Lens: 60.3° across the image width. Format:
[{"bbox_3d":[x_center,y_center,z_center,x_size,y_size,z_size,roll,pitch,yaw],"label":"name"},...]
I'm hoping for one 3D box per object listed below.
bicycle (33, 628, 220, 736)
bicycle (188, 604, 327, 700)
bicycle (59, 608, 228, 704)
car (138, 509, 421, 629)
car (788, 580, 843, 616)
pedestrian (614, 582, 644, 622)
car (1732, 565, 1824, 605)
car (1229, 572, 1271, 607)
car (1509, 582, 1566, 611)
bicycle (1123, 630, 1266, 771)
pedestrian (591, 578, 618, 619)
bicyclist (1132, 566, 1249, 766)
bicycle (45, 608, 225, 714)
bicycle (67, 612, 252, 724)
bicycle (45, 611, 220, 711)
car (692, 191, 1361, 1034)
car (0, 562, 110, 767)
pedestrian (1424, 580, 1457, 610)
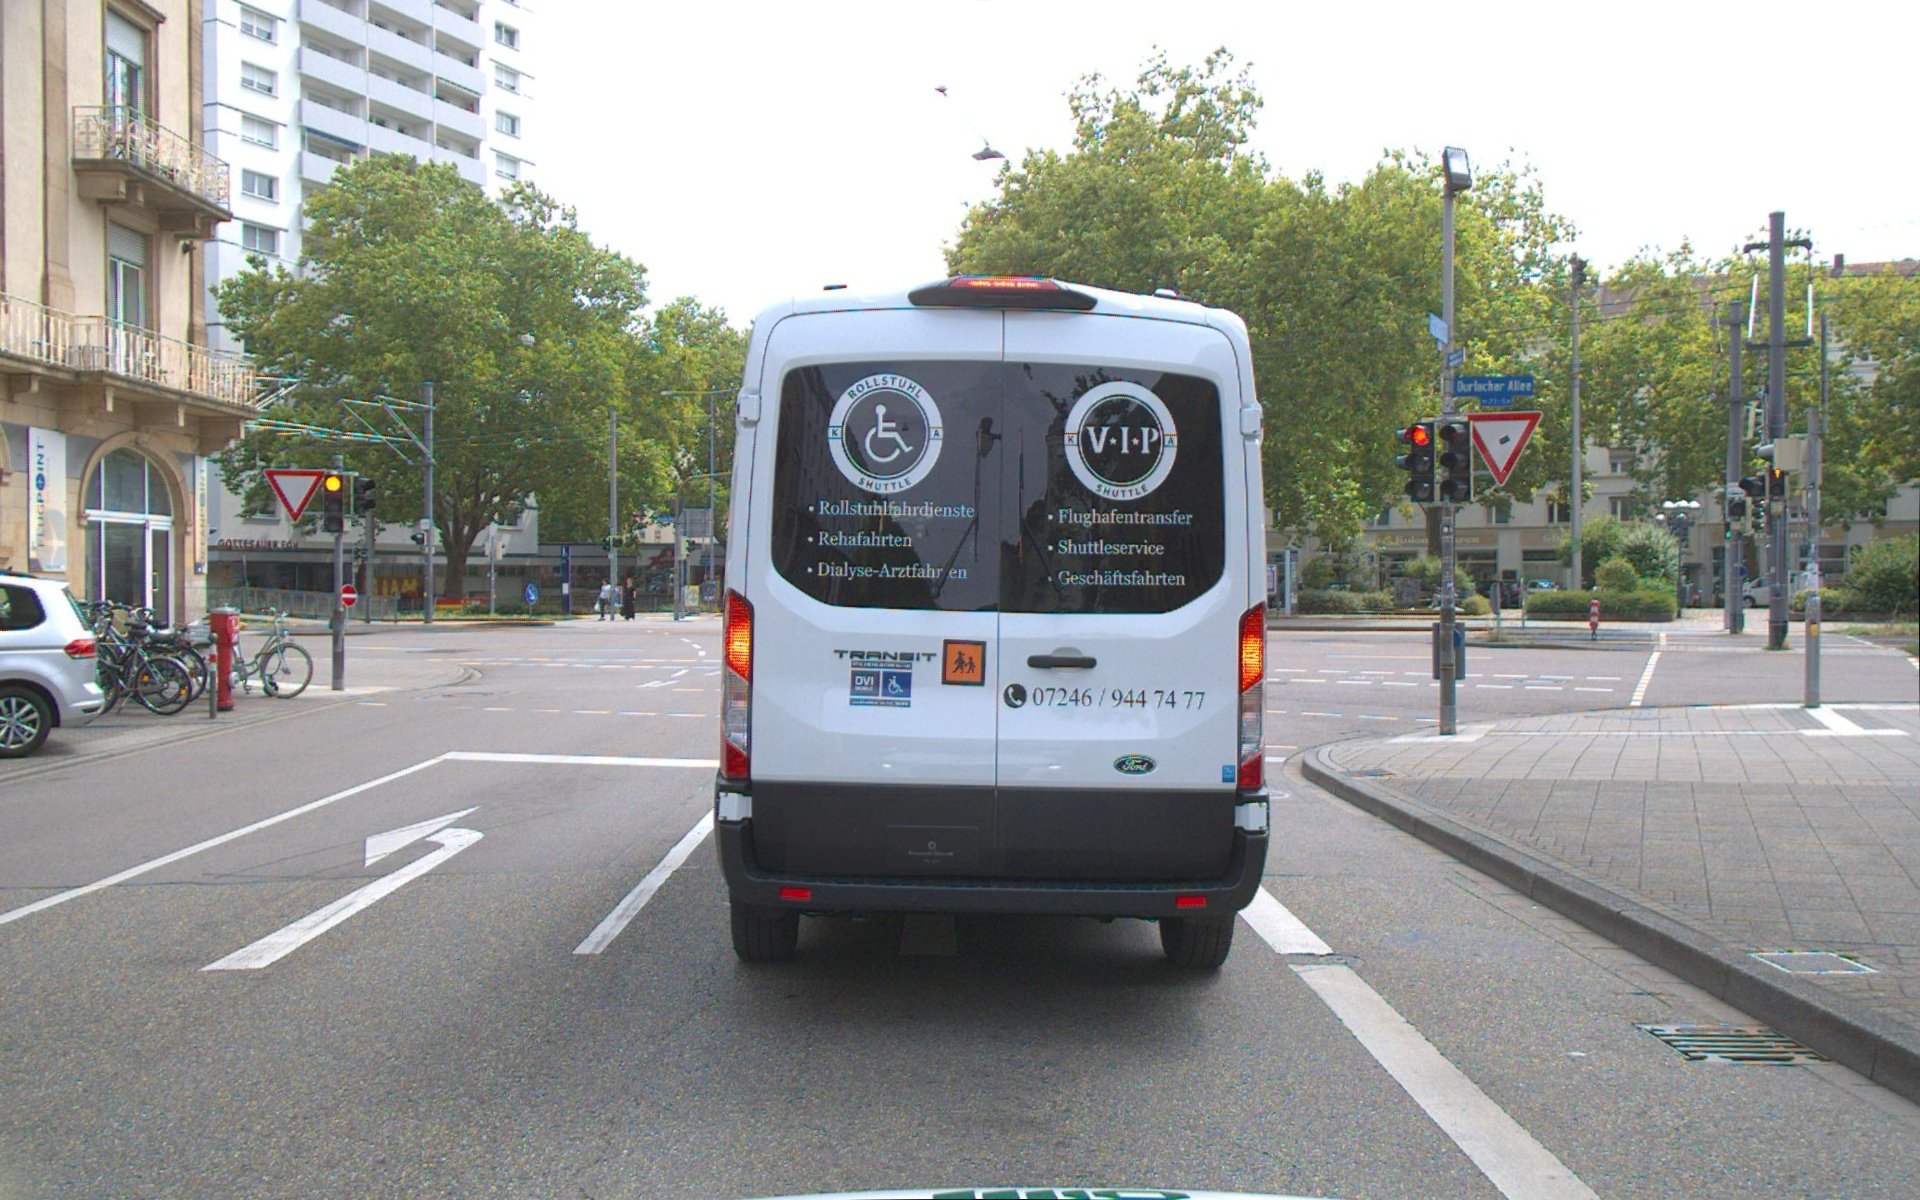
[{"bbox_3d":[-9.134,0.892,18.143,1.771,1.140,0.594,-1,0,6],"label":"bicycle"},{"bbox_3d":[-9.337,0.680,21.975,1.836,1.187,0.498,2,0,20],"label":"bicycle"},{"bbox_3d":[-10.269,0.704,20.842,1.775,1.140,0.593,2,0,-9],"label":"bicycle"},{"bbox_3d":[-23.944,-1.040,58.112,9.686,3.983,3.454,0,1,24],"label":"car"},{"bbox_3d":[-6.237,-0.114,71.808,1.586,1.502,4.003,-1,1,7],"label":"car"},{"bbox_3d":[-12.930,0.069,64.673,0.910,1.541,0.724,0,0,13],"label":"pedestrian"},{"bbox_3d":[40.051,-0.727,81.055,3.907,1.915,1.857,0,0,24],"label":"car"},{"bbox_3d":[16.921,-0.606,96.639,1.951,1.964,4.002,-1,1,4],"label":"car"},{"bbox_3d":[31.589,-0.193,90.500,1.951,1.529,4.002,-1,1,4],"label":"car"},{"bbox_3d":[2.038,0.847,14.664,0.885,1.093,1.969,0,1,-3],"label":"bicycle"},{"bbox_3d":[-13.910,-0.053,64.745,0.790,1.600,0.724,0,0,13],"label":"pedestrian"},{"bbox_3d":[2.026,0.562,14.638,0.886,1.713,0.756,0,0,-4],"label":"bicyclist"},{"bbox_3d":[-9.723,0.711,19.542,1.775,1.186,0.593,2,0,-9],"label":"bicycle"},{"bbox_3d":[-9.094,0.765,18.814,1.772,1.140,0.594,3,0,3],"label":"bicycle"},{"bbox_3d":[-10.061,0.739,20.147,1.775,1.140,0.593,2,0,-9],"label":"bicycle"},{"bbox_3d":[0.137,0.002,7.647,2.138,2.694,4.627,1,1,-2],"label":"car"},{"bbox_3d":[-9.880,0.579,14.589,3.975,1.804,1.771,-1,1,-40],"label":"car"},{"bbox_3d":[21.072,-0.207,72.545,1.068,1.257,1.441,-2,0,4],"label":"pedestrian"}]
